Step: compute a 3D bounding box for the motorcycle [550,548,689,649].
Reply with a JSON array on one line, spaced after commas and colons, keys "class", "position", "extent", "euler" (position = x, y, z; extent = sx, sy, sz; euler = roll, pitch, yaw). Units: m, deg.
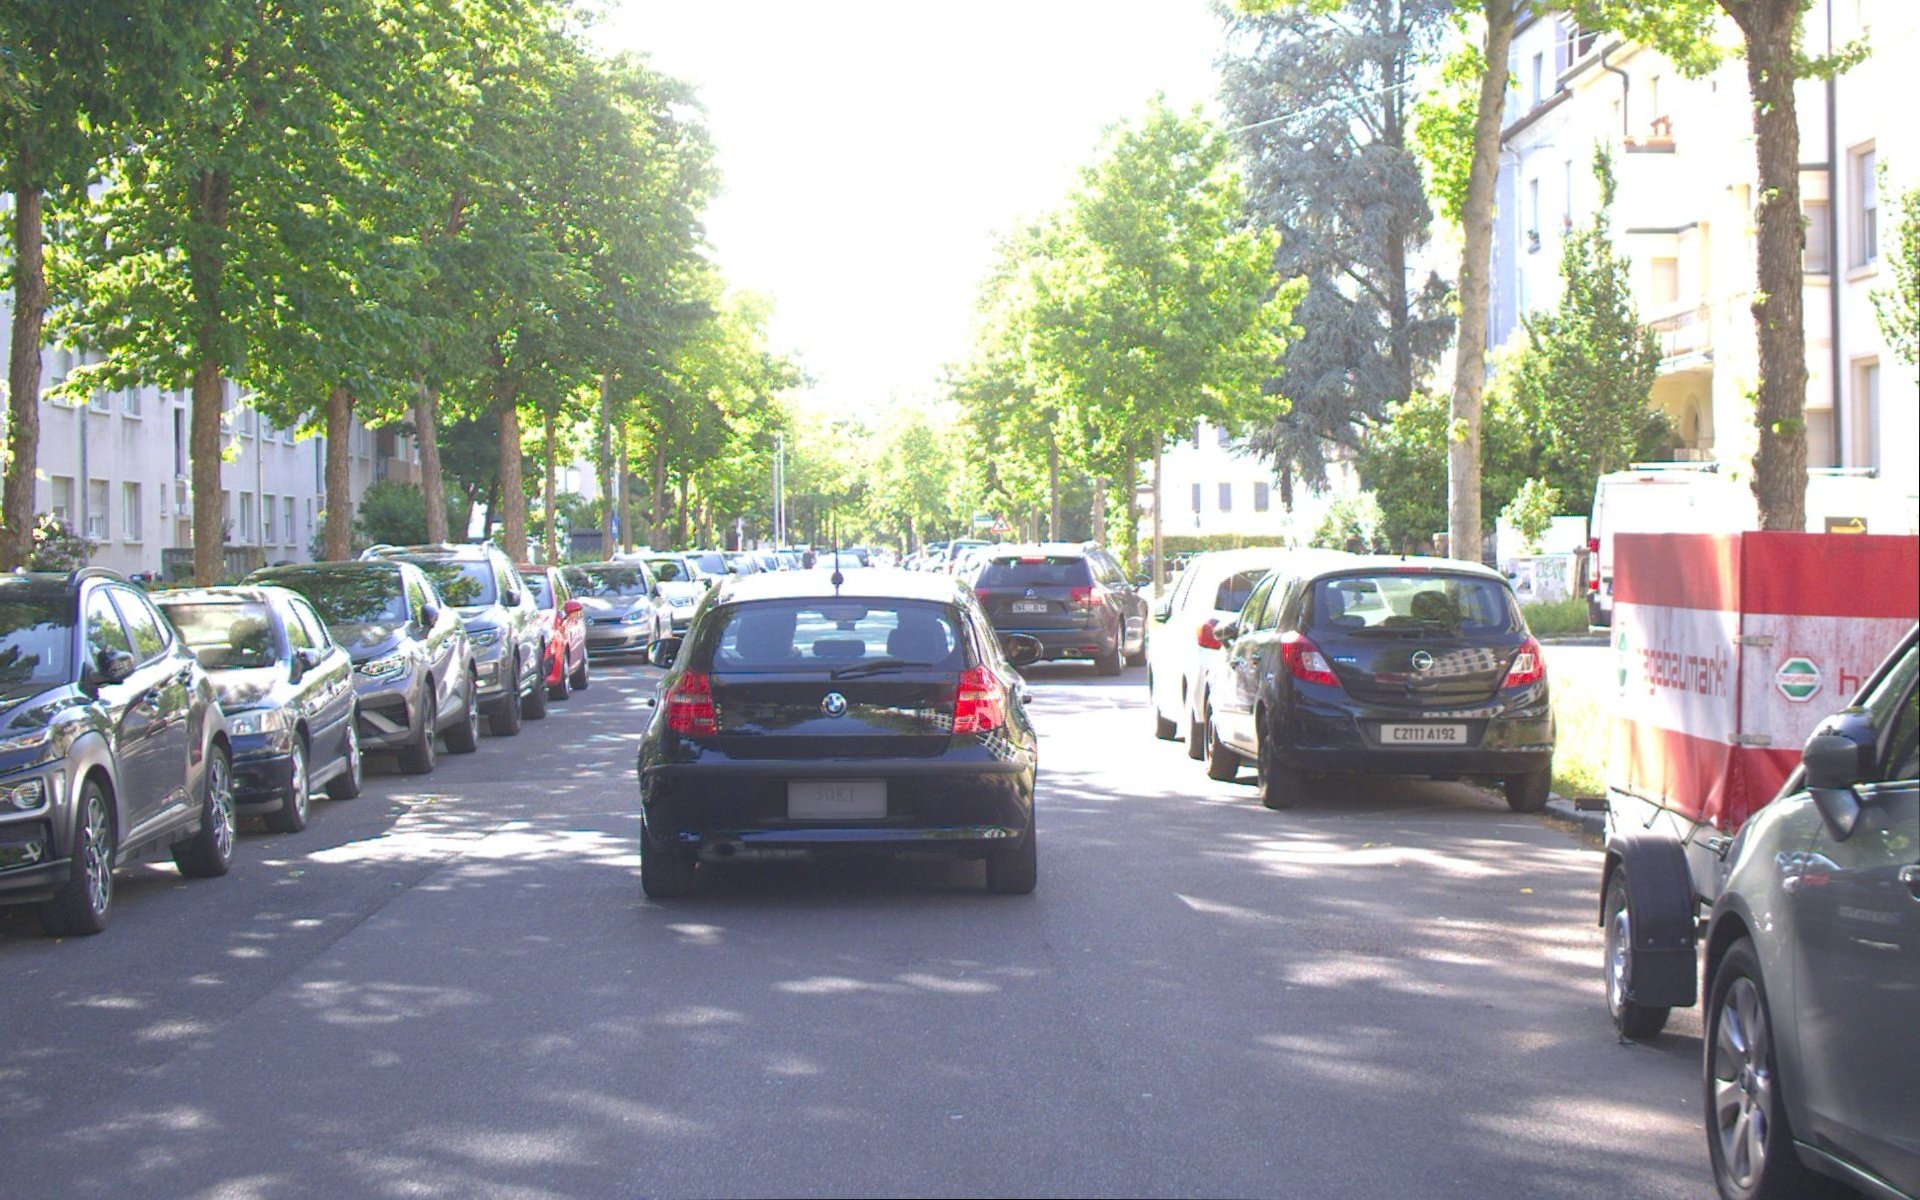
[{"class": "motorcycle", "position": [-5.278, -0.020, 53.165], "extent": [0.987, 1.498, 2.233], "euler": [-2, 1, -41]}]

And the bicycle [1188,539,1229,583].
[{"class": "bicycle", "position": [7.168, -1.127, 99.377], "extent": [0.838, 1.253, 2.232], "euler": [0, 1, -5]}]

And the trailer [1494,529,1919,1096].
[{"class": "trailer", "position": [2.777, 0.576, 11.216], "extent": [1.574, 1.573, 3.192], "euler": [1, 1, 1]}]

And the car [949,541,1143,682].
[{"class": "car", "position": [0.922, 0.117, 39.692], "extent": [1.895, 1.519, 4.967], "euler": [0, 0, -3]}]

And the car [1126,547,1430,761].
[{"class": "car", "position": [2.327, 0.343, 26.090], "extent": [1.732, 1.482, 4.010], "euler": [0, 1, -3]}]

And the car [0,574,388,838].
[{"class": "car", "position": [-4.672, 0.560, 20.924], "extent": [1.784, 1.348, 4.482], "euler": [-2, 1, -3]}]

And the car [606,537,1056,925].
[{"class": "car", "position": [-0.599, 0.498, 15.952], "extent": [1.782, 1.518, 4.001], "euler": [-2, 1, -2]}]

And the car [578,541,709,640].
[{"class": "car", "position": [-5.213, -0.192, 57.142], "extent": [2.063, 1.519, 4.723], "euler": [-1, 1, -4]}]

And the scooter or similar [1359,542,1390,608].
[{"class": "scooter or similar", "position": [7.593, -0.461, 62.991], "extent": [0.402, 1.181, 1.205], "euler": [-1, 2, 14]}]

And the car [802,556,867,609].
[{"class": "car", "position": [-3.706, -0.528, 101.419], "extent": [1.809, 1.441, 4.367], "euler": [-3, 1, -2]}]

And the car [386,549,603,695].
[{"class": "car", "position": [-5.057, 0.202, 37.844], "extent": [1.856, 1.464, 4.182], "euler": [-1, 1, -1]}]

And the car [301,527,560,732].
[{"class": "car", "position": [-4.772, 0.210, 31.586], "extent": [1.767, 1.682, 4.815], "euler": [-2, 1, -2]}]

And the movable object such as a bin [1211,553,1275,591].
[{"class": "movable object such as a bin", "position": [7.162, -0.715, 87.010], "extent": [1.222, 0.901, 1.663], "euler": [-1, 1, 19]}]

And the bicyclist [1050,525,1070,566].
[{"class": "bicyclist", "position": [3.965, -2.168, 135.995], "extent": [0.677, 1.604, 0.922], "euler": [-1, 1, -4]}]

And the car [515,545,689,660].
[{"class": "car", "position": [-5.076, -0.001, 49.288], "extent": [2.043, 1.519, 4.606], "euler": [-1, 1, -1]}]

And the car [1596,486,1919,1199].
[{"class": "car", "position": [2.618, 0.627, 6.450], "extent": [1.792, 1.637, 4.819], "euler": [1, 1, -2]}]

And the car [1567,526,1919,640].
[{"class": "car", "position": [10.765, -0.233, 47.034], "extent": [4.721, 1.464, 1.952], "euler": [-1, 0, 13]}]

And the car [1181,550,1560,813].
[{"class": "car", "position": [2.457, 0.432, 21.521], "extent": [1.670, 1.445, 4.179], "euler": [1, 1, -3]}]

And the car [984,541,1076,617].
[{"class": "car", "position": [1.442, -0.464, 72.510], "extent": [1.654, 1.527, 3.970], "euler": [1, 1, -3]}]

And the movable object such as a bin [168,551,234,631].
[{"class": "movable object such as a bin", "position": [-12.964, -0.162, 58.738], "extent": [0.929, 1.319, 1.379], "euler": [-2, 1, -6]}]

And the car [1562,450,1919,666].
[{"class": "car", "position": [9.632, -0.516, 39.196], "extent": [5.039, 2.298, 2.235], "euler": [-2, 1, -24]}]

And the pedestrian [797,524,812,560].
[{"class": "pedestrian", "position": [-8.411, -3.132, 185.820], "extent": [0.715, 1.894, 0.837], "euler": [-1, 1, 2]}]

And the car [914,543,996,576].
[{"class": "car", "position": [-0.271, -2.051, 173.541], "extent": [3.986, 1.581, 1.727], "euler": [-1, 1, -5]}]

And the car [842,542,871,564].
[{"class": "car", "position": [-7.673, -3.471, 254.615], "extent": [1.783, 1.603, 4.001], "euler": [-1, 1, -5]}]

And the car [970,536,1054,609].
[{"class": "car", "position": [1.215, -0.674, 82.088], "extent": [1.926, 1.646, 5.095], "euler": [1, 1, 0]}]

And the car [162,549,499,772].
[{"class": "car", "position": [-4.717, 0.394, 26.352], "extent": [1.769, 1.526, 4.420], "euler": [-1, 1, 0]}]

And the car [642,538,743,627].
[{"class": "car", "position": [-5.325, -0.371, 68.891], "extent": [1.728, 1.612, 4.367], "euler": [-4, 1, -2]}]

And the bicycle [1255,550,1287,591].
[{"class": "bicycle", "position": [7.546, -0.725, 83.505], "extent": [0.581, 0.971, 1.903], "euler": [-2, 1, 0]}]

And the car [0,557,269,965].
[{"class": "car", "position": [-4.474, 0.626, 15.712], "extent": [1.706, 1.571, 4.482], "euler": [-2, 1, 0]}]

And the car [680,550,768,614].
[{"class": "car", "position": [-5.546, -0.441, 81.119], "extent": [1.779, 1.374, 4.263], "euler": [-3, 1, -1]}]
